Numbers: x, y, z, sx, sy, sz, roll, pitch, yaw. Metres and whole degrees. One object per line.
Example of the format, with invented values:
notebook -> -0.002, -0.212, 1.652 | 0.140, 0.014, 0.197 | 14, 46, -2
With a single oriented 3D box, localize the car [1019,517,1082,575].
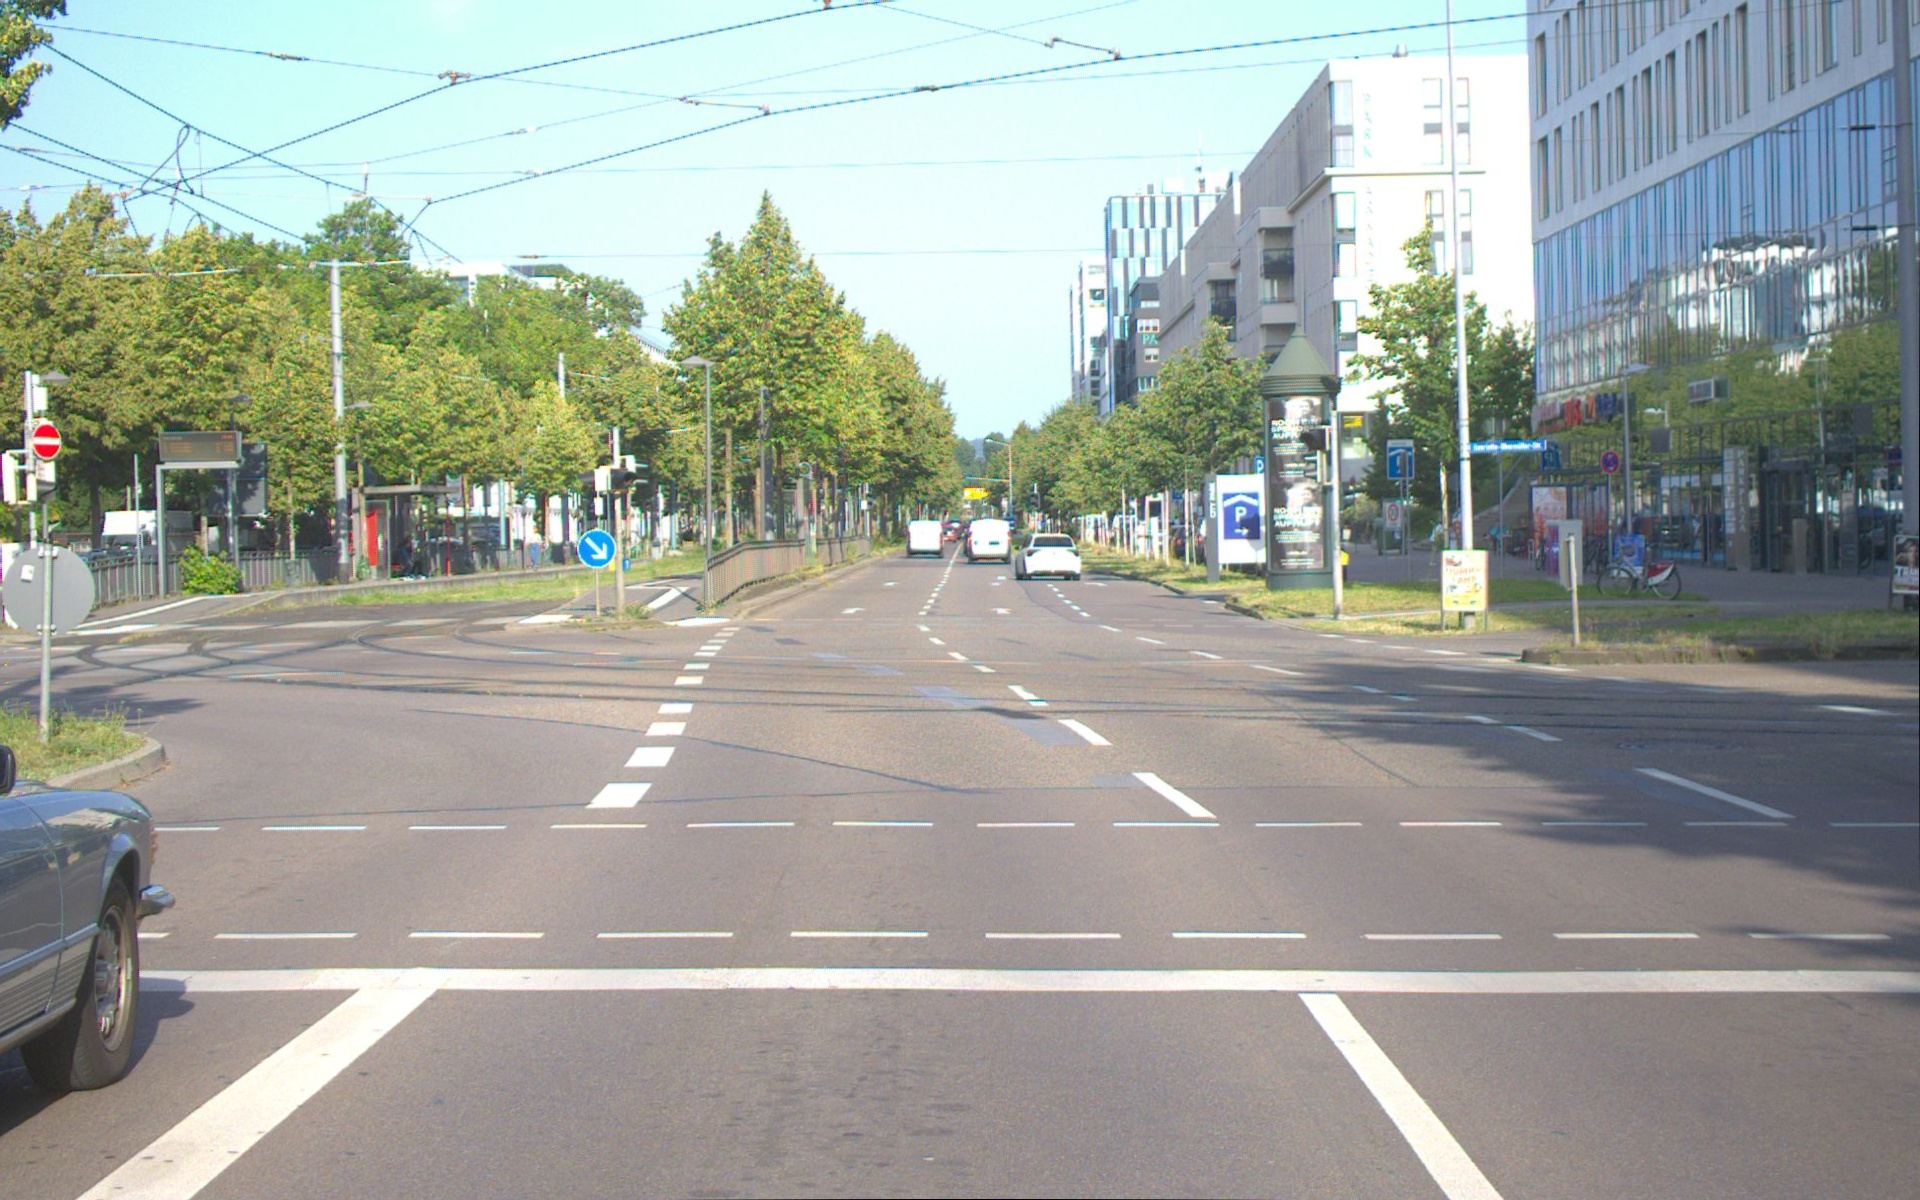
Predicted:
car -> 2.727, -1.661, 104.279 | 1.864, 1.678, 4.000 | 1, 2, 1

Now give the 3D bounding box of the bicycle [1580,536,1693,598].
bicycle -> 12.148, -0.608, 61.750 | 0.771, 1.028, 1.878 | -2, 4, -43

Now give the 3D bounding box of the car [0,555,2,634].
car -> -19.127, -0.057, 62.887 | 1.993, 1.499, 4.093 | -1, 1, 1

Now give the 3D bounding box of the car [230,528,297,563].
car -> -32.170, -2.543, 158.847 | 1.881, 1.554, 3.999 | -1, 1, 6

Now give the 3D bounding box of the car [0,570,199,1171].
car -> -3.075, 0.639, 7.776 | 1.763, 1.325, 4.400 | 1, 2, -1

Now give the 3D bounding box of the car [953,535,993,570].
car -> 0.673, -2.405, 172.873 | 1.924, 1.678, 4.000 | 1, 2, 1

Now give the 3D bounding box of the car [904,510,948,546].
car -> -1.634, -3.504, 167.486 | 2.015, 1.678, 4.000 | 1, 2, 1

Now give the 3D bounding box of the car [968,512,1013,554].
car -> 1.289, -2.813, 143.640 | 1.864, 1.678, 4.000 | 1, 2, 1

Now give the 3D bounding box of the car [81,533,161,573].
car -> -33.755, -1.908, 138.453 | 1.881, 1.554, 3.999 | -1, 1, 6
